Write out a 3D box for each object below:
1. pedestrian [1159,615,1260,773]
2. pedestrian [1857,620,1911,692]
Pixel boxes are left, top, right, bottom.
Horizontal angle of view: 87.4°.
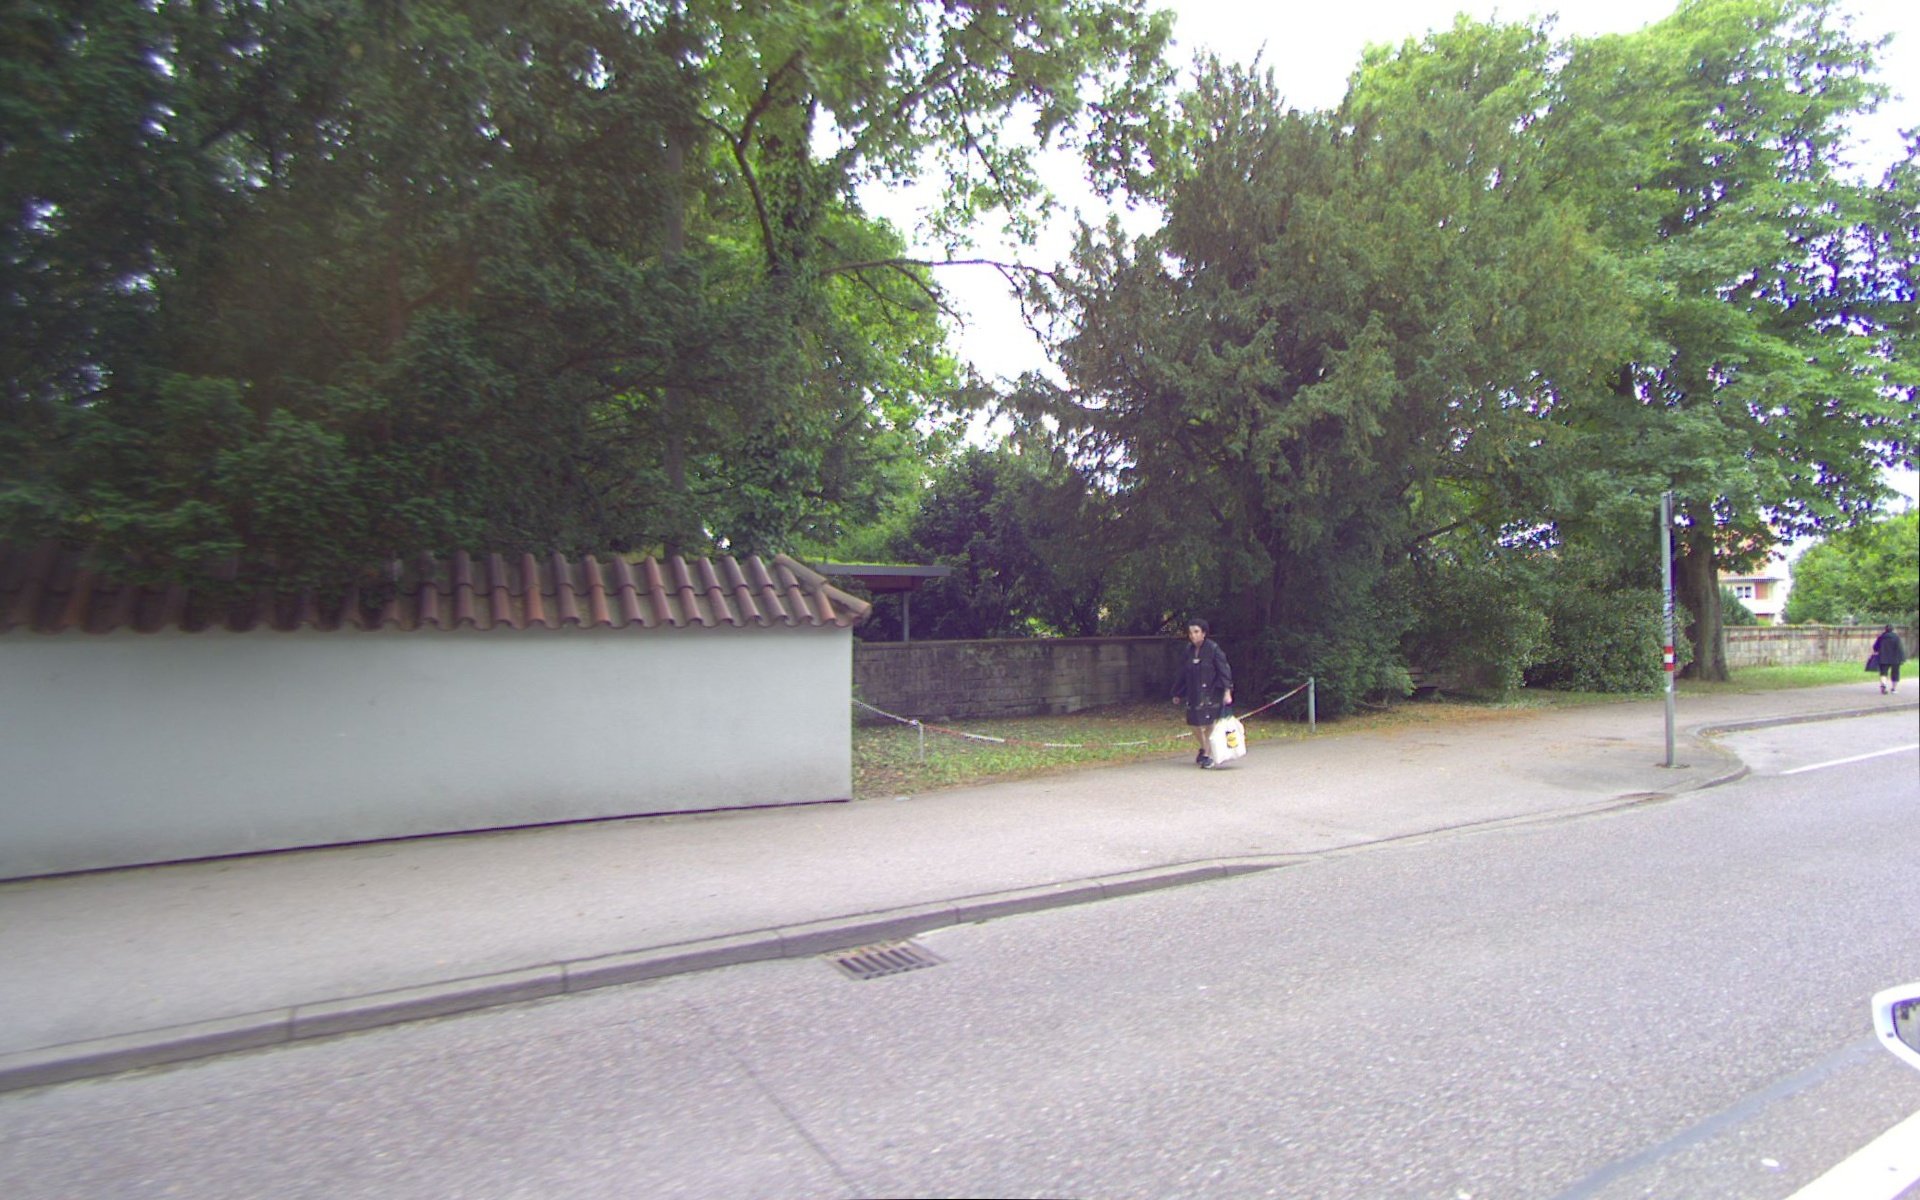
[{"bbox_3d":[2.710,0.971,10.865,0.910,1.581,0.902,2,0,21],"label":"pedestrian"},{"bbox_3d":[21.278,1.269,23.133,0.957,1.599,0.743,1,0,-36],"label":"pedestrian"}]
